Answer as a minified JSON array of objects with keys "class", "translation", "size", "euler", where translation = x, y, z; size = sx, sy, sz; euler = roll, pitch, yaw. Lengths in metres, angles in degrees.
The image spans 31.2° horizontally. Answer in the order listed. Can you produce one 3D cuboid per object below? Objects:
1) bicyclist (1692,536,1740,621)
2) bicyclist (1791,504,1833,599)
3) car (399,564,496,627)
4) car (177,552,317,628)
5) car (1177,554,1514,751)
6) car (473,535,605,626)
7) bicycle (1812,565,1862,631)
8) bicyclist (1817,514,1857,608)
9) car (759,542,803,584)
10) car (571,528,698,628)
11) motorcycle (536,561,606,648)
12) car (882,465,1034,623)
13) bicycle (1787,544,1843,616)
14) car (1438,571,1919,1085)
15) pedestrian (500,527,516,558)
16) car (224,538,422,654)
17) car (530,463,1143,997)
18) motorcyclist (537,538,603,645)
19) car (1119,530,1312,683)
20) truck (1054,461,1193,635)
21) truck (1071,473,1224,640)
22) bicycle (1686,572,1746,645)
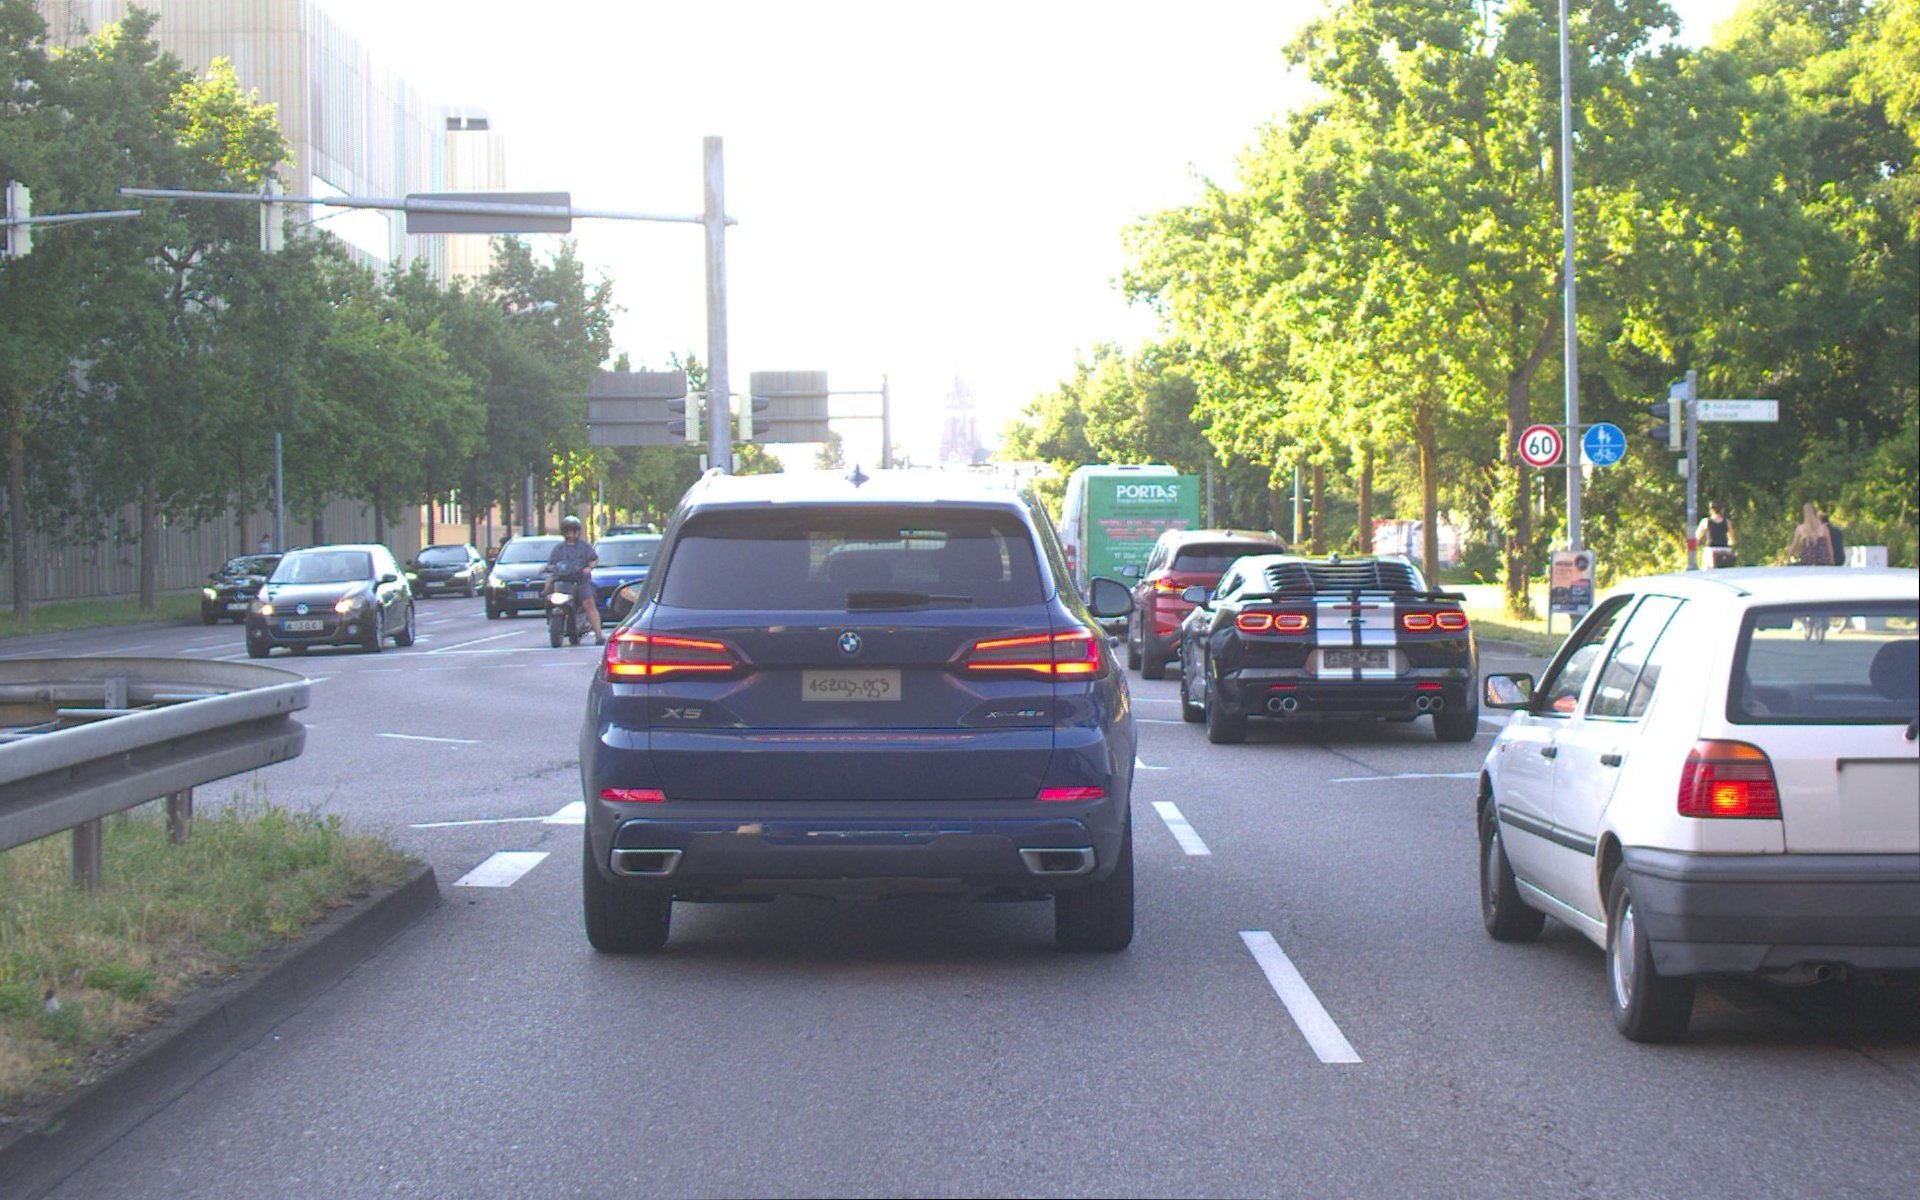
[{"class":"bicyclist","translation":[11.724,-0.332,53.332],"size":[0.543,1.311,0.835],"euler":[1,0,0]},{"class":"bicyclist","translation":[11.149,-0.627,44.997],"size":[0.427,1.229,0.460],"euler":[-1,0,0]},{"class":"car","translation":[-14.270,-0.133,95.900],"size":[1.993,1.586,4.715],"euler":[-4,0,-1]},{"class":"car","translation":[-14.696,-0.203,71.083],"size":[1.993,1.396,4.349],"euler":[-4,0,-1]},{"class":"car","translation":[2.717,0.349,25.080],"size":[1.993,1.290,4.000],"euler":[1,0,0]},{"class":"car","translation":[-8.190,-0.366,67.229],"size":[1.993,1.586,4.715],"euler":[-4,0,-1]},{"class":"bicycle","translation":[12.325,-0.023,48.325],"size":[0.437,0.911,1.026],"euler":[1,0,0]},{"class":"bicyclist","translation":[12.332,-0.542,48.333],"size":[0.427,1.304,0.460],"euler":[1,0,0]},{"class":"car","translation":[-8.351,-1.718,160.618],"size":[1.756,1.771,4.494],"euler":[-4,0,-1]},{"class":"car","translation":[-5.245,-0.349,55.786],"size":[1.702,1.447,3.858],"euler":[-4,0,-2]},{"class":"motorcycle","translation":[-5.160,0.044,45.550],"size":[0.839,1.072,2.401],"euler":[-3,1,-7]},{"class":"car","translation":[-0.088,-0.924,58.875],"size":[2.136,2.567,5.088],"euler":[1,0,-5]},{"class":"bicycle","translation":[11.156,-0.258,44.881],"size":[0.437,0.911,1.026],"euler":[-2,0,0]},{"class":"car","translation":[2.716,0.634,11.538],"size":[1.578,1.408,4.062],"euler":[1,0,-1]},{"class":"pedestrian","translation":[-22.584,-2.878,171.765],"size":[0.627,1.516,0.718],"euler":[1,0,3]},{"class":"car","translation":[-8.653,-0.061,47.021],"size":[1.993,1.470,4.081],"euler":[1,0,-1]},{"class":"car","translation":[-0.404,0.425,13.595],"size":[1.993,1.728,4.533],"euler":[1,0,0]},{"class":"motorcyclist","translation":[-5.173,-0.120,45.567],"size":[0.797,1.345,1.275],"euler":[-2,2,-7]},{"class":"car","translation":[2.747,0.065,37.690],"size":[1.796,1.553,4.000],"euler":[1,0,0]},{"class":"truck","translation":[2.573,-0.809,55.062],"size":[1.996,2.659,4.000],"euler":[1,0,0]},{"class":"truck","translation":[2.702,-0.617,50.330],"size":[1.996,2.307,4.000],"euler":[1,0,0]},{"class":"bicycle","translation":[11.724,0.133,53.354],"size":[0.564,1.108,1.622],"euler":[1,0,0]}]
